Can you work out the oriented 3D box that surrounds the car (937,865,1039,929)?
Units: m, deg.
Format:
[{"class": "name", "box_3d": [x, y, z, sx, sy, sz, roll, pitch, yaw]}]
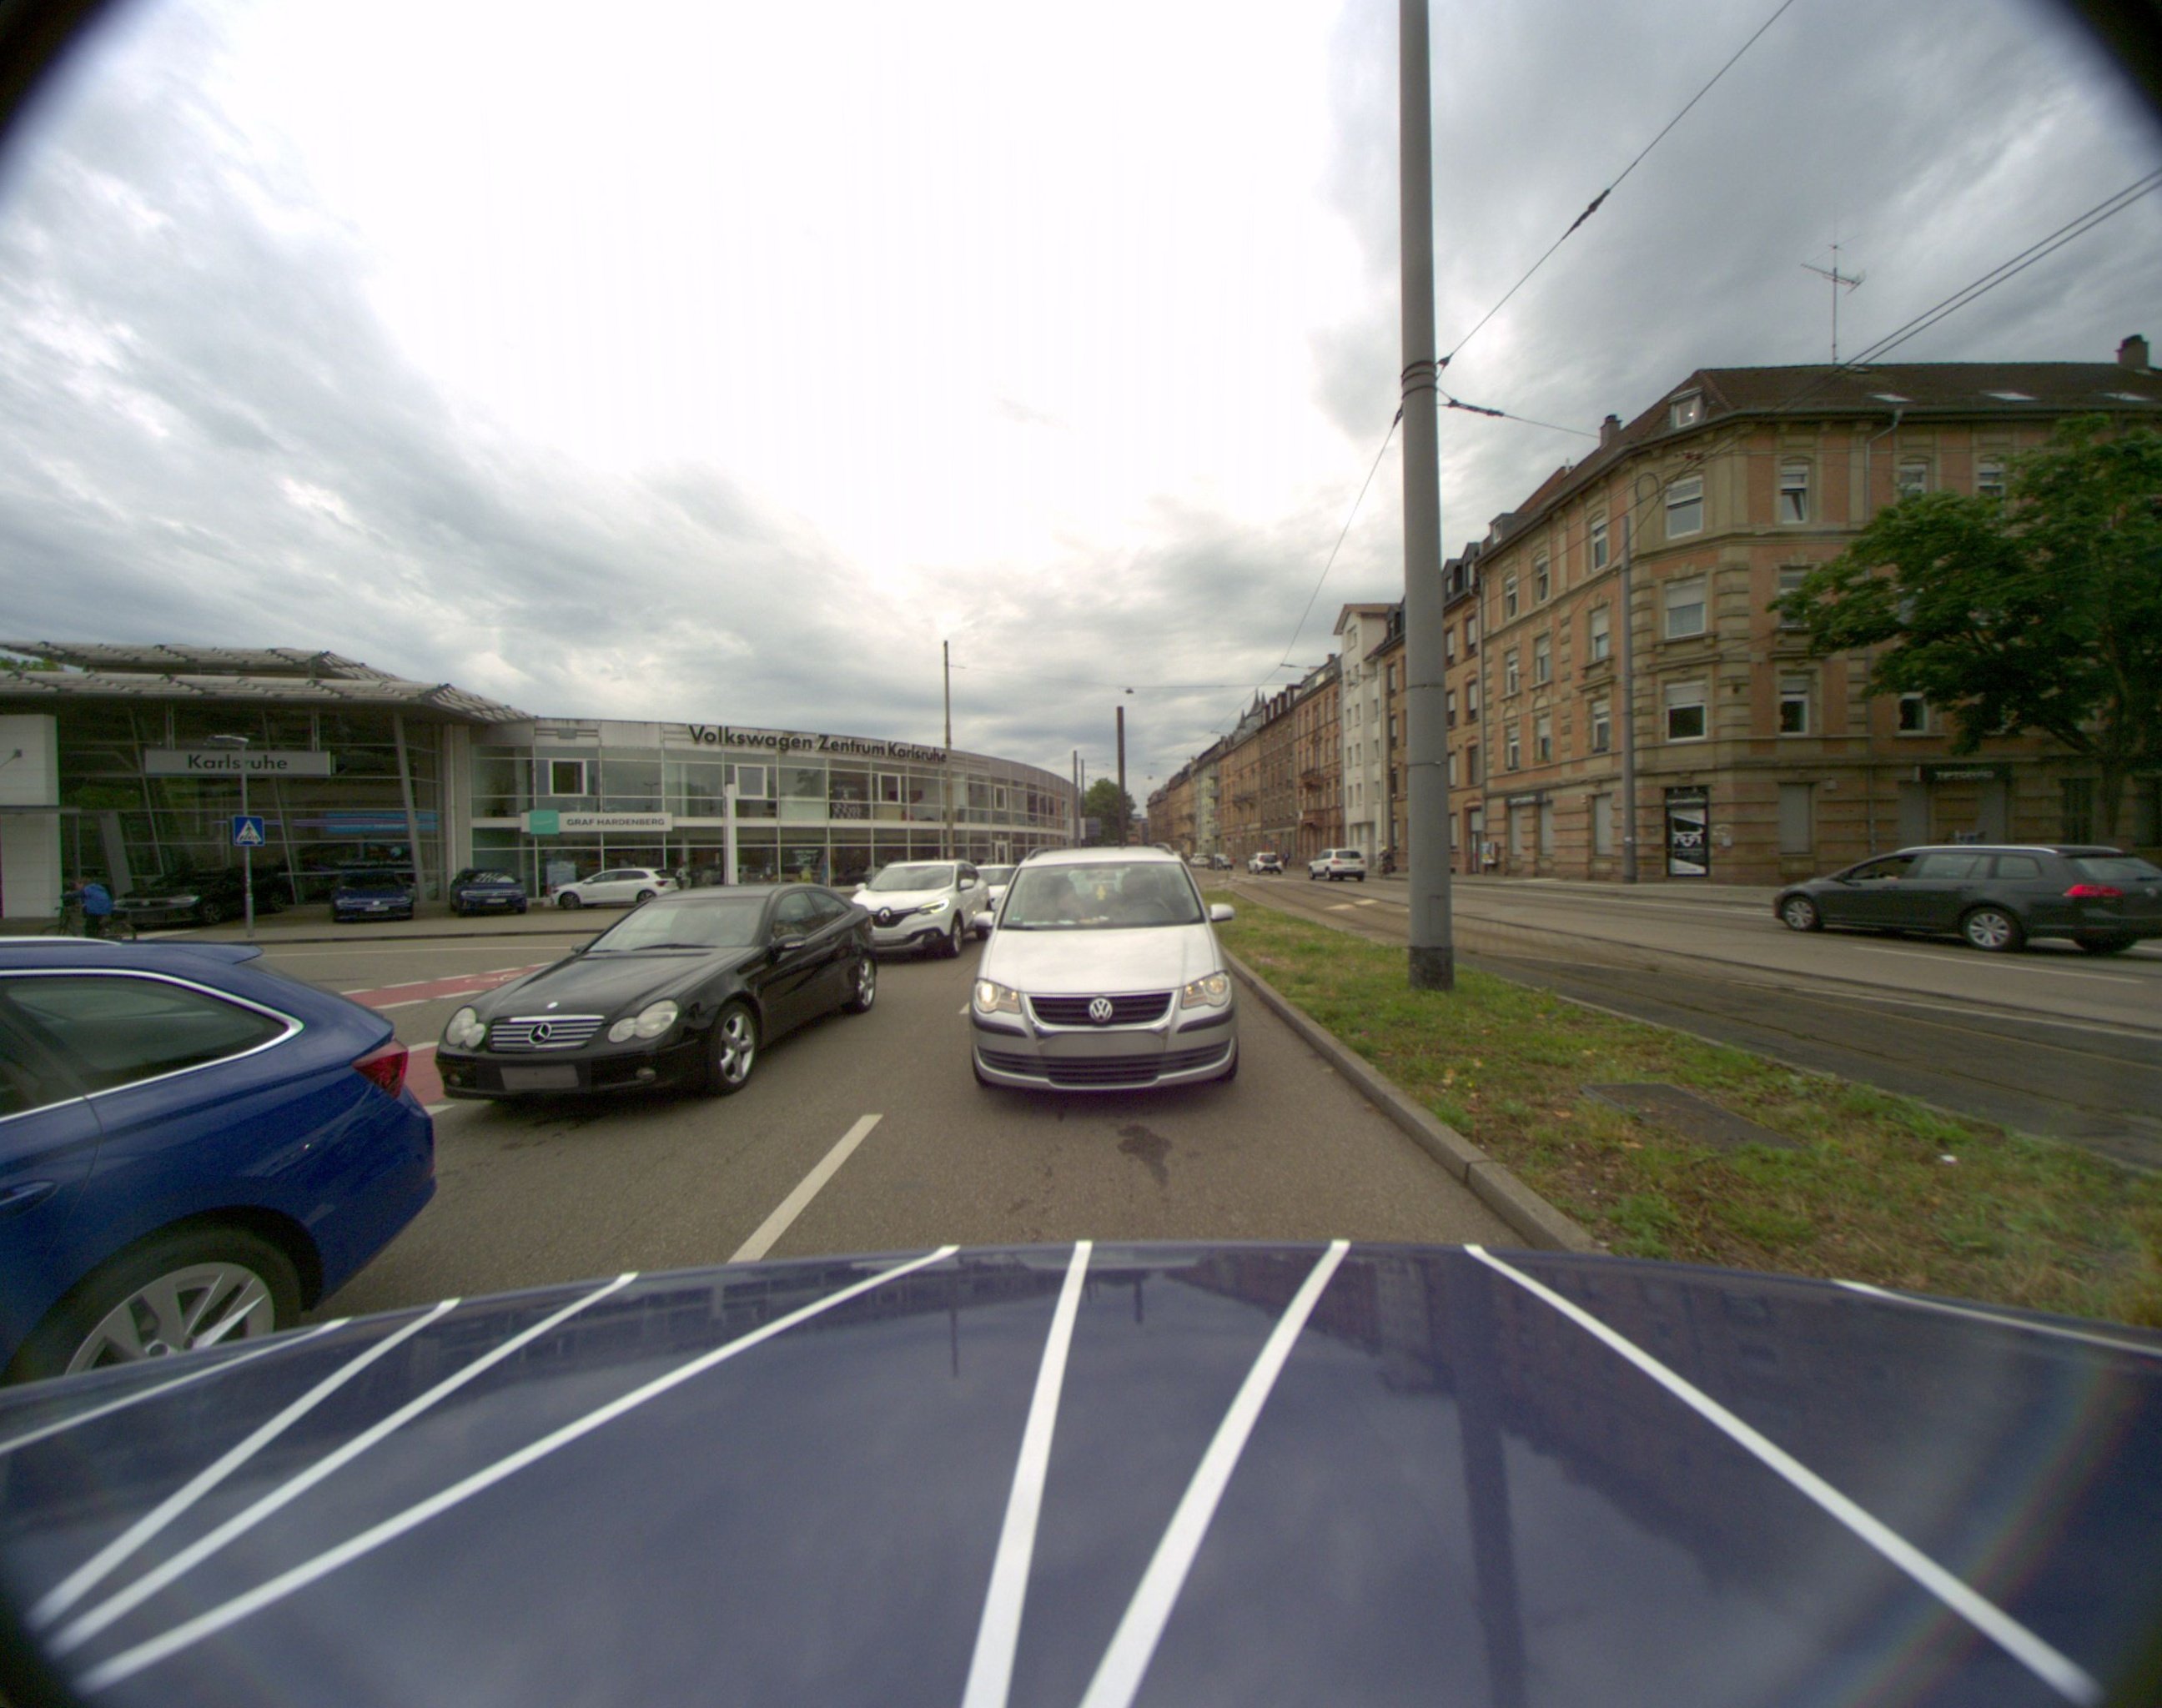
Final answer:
[{"class": "car", "box_3d": [-2.310, 1.047, 19.879, 1.907, 1.428, 3.973, -1, 0, 4]}]

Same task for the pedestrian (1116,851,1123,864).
[{"class": "pedestrian", "box_3d": [6.020, 0.558, 118.782, 1.004, 2.002, 0.908, -1, 1, 1]}]

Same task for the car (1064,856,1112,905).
[{"class": "car", "box_3d": [0.355, 1.122, 34.134, 1.998, 2.002, 4.000, -1, 0, 1]}]

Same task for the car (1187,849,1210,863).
[{"class": "car", "box_3d": [13.102, 0.207, 84.999, 1.819, 1.500, 4.574, -1, 0, -1]}]

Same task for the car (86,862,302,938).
[{"class": "car", "box_3d": [-26.491, 1.274, 23.003, 1.959, 1.635, 4.664, -1, 5, -17]}]

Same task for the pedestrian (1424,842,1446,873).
[{"class": "pedestrian", "box_3d": [19.118, 0.179, 41.058, 0.812, 1.666, 0.798, -1, 1, -3]}]

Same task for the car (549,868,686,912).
[{"class": "car", "box_3d": [-16.893, 1.272, 27.861, 3.907, 1.433, 1.731, -1, 1, -9]}]

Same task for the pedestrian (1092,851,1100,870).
[{"class": "pedestrian", "box_3d": [1.334, 0.569, 66.759, 0.663, 1.671, 0.650, -1, 1, 1]}]

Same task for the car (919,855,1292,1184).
[{"class": "car", "box_3d": [0.182, 0.855, 6.413, 1.863, 1.609, 5.062, -2, 0, 1]}]

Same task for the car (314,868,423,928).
[{"class": "car", "box_3d": [-22.239, 1.305, 23.895, 1.961, 1.517, 4.218, -1, 2, -36]}]

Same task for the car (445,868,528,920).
[{"class": "car", "box_3d": [-20.016, 1.268, 25.523, 1.795, 1.552, 4.023, -2, 1, -43]}]

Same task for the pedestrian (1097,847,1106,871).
[{"class": "pedestrian", "box_3d": [1.591, 0.407, 59.770, 0.652, 1.904, 0.602, -1, 1, 1]}]

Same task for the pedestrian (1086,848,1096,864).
[{"class": "pedestrian", "box_3d": [1.317, 0.232, 97.773, 1.177, 2.002, 1.032, -1, 1, 1]}]

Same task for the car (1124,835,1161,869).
[{"class": "car", "box_3d": [3.734, -0.121, 46.950, 1.998, 2.002, 4.000, -1, 0, 1]}]

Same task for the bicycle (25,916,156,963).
[{"class": "bicycle", "box_3d": [-21.749, 1.871, 16.717, 1.790, 0.906, 0.561, -1, 1, -13]}]

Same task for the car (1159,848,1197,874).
[{"class": "car", "box_3d": [6.918, 0.475, 54.656, 2.372, 1.744, 5.130, -1, 0, 4]}]

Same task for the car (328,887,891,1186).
[{"class": "car", "box_3d": [-3.123, 1.096, 6.345, 1.769, 1.362, 4.422, -2, 0, 2]}]

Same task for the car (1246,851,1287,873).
[{"class": "car", "box_3d": [12.893, 0.516, 53.103, 1.815, 1.423, 4.017, -1, 0, -1]}]

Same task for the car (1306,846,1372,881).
[{"class": "car", "box_3d": [13.210, 0.451, 39.157, 1.835, 1.635, 4.230, -1, 0, -1]}]

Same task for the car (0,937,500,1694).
[{"class": "car", "box_3d": [-3.178, 1.073, 0.544, 1.770, 1.428, 4.757, -2, 0, 1]}]

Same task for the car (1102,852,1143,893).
[{"class": "car", "box_3d": [2.111, 0.941, 39.960, 1.998, 2.002, 4.000, -1, 0, 1]}]

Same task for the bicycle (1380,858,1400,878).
[{"class": "bicycle", "box_3d": [16.401, 0.736, 40.354, 0.744, 0.963, 2.115, -1, 0, 15]}]

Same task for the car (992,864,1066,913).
[{"class": "car", "box_3d": [-1.613, 1.075, 25.106, 1.907, 1.428, 3.973, -1, 0, 4]}]

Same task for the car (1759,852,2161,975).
[{"class": "car", "box_3d": [13.249, 0.715, 11.517, 1.888, 1.461, 4.463, -1, 0, -1]}]

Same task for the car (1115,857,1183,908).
[{"class": "car", "box_3d": [2.204, 0.853, 24.556, 1.971, 1.447, 4.194, -1, 0, 5]}]

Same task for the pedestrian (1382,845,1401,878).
[{"class": "pedestrian", "box_3d": [16.387, 0.395, 40.163, 0.811, 1.761, 0.799, -1, 1, 15]}]

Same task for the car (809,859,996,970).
[{"class": "car", "box_3d": [-2.841, 0.896, 13.119, 1.982, 1.550, 4.146, -1, 0, 4]}]

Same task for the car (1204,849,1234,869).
[{"class": "car", "box_3d": [12.666, 0.426, 69.829, 1.896, 1.693, 4.232, -1, 0, -1]}]

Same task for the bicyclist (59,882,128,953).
[{"class": "bicyclist", "box_3d": [-21.727, 1.383, 16.735, 0.695, 1.487, 0.554, -1, 1, -13]}]
